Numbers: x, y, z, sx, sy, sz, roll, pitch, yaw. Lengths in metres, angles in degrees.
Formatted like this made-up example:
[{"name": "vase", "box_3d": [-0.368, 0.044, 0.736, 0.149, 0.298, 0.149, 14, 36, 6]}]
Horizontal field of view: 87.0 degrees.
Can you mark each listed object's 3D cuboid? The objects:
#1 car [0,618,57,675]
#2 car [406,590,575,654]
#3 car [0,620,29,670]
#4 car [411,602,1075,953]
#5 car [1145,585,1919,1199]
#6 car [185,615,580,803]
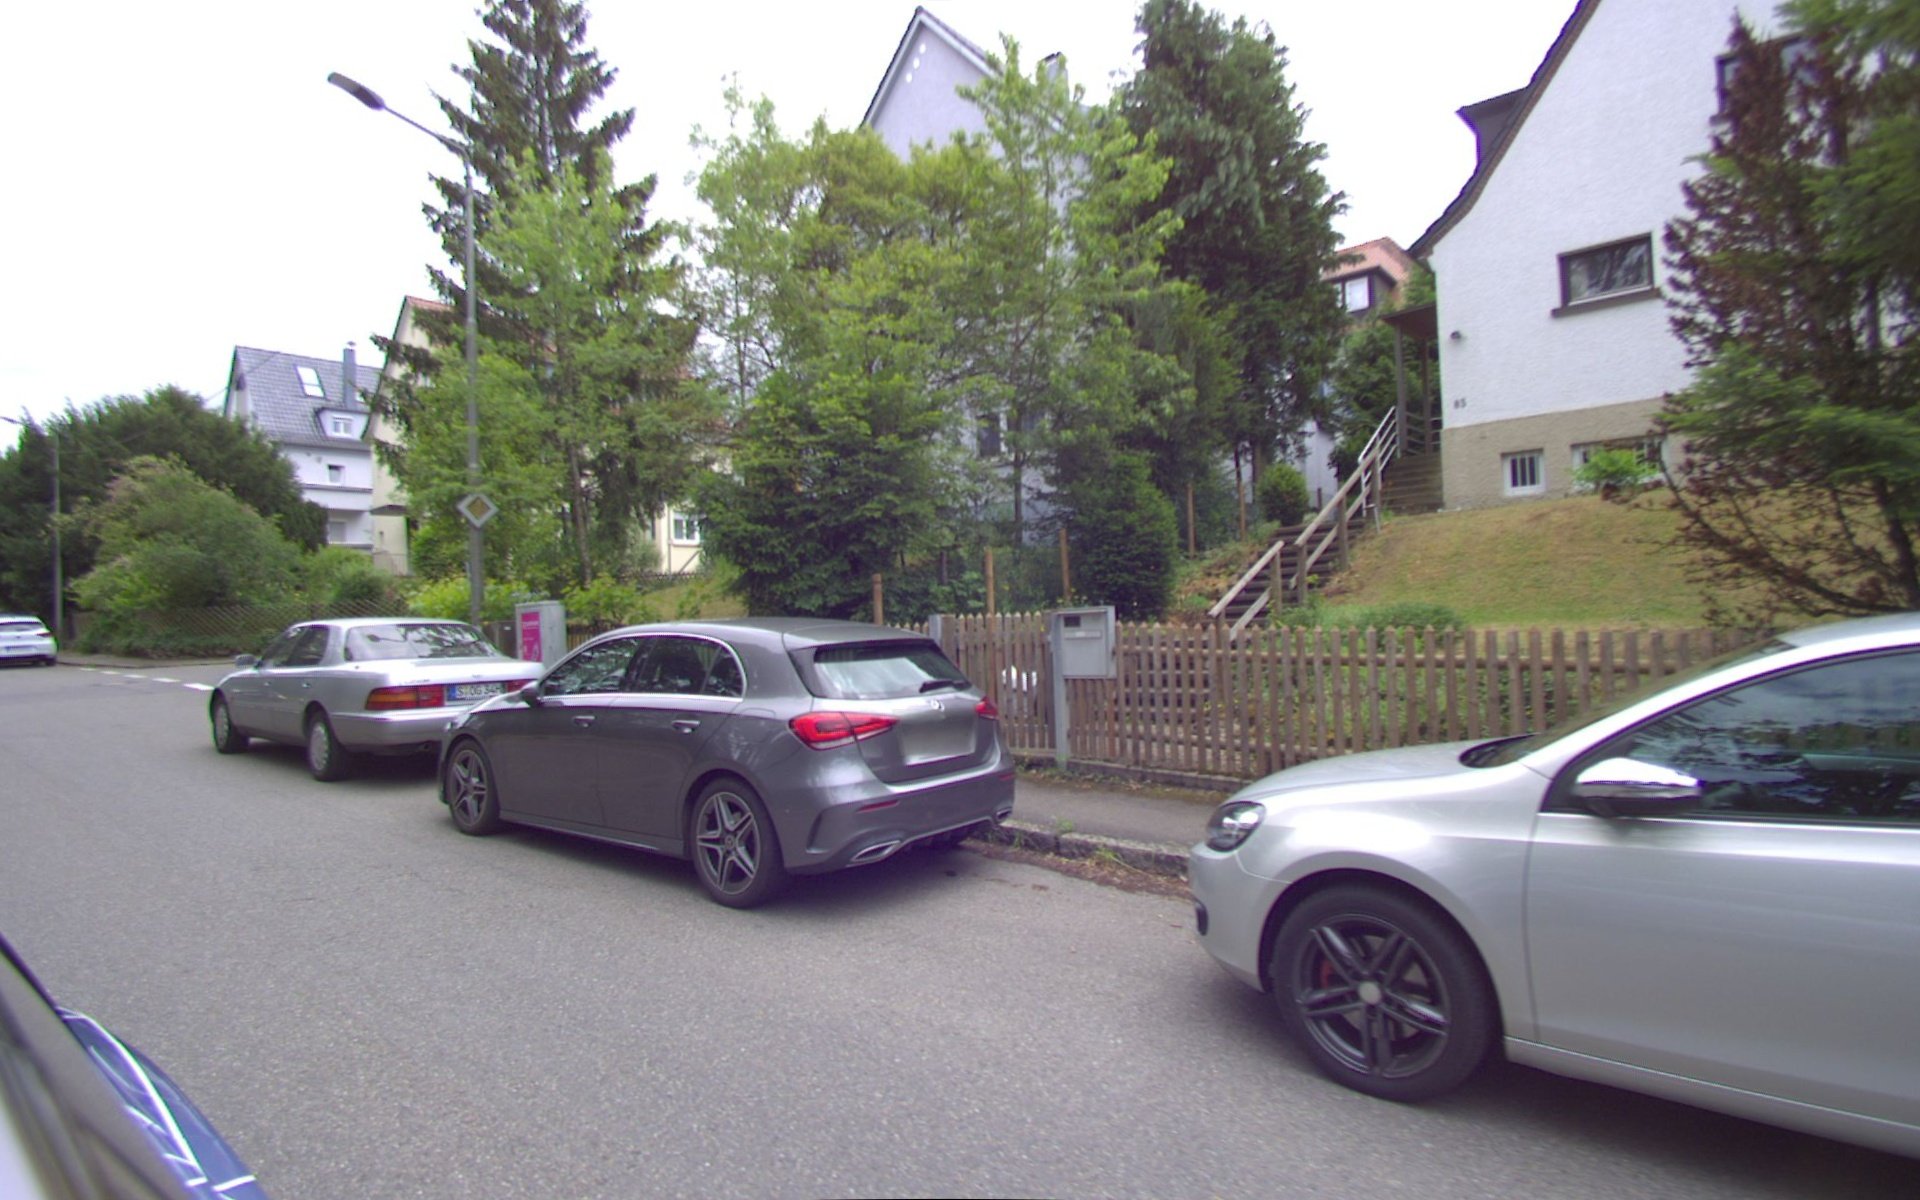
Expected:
[{"name": "car", "box_3d": [-27.442, 1.316, 28.990, 4.011, 1.511, 1.766, -2, 0, 40]}, {"name": "car", "box_3d": [-13.335, 0.594, 28.882, 1.723, 1.494, 3.942, -2, 2, 45]}, {"name": "car", "box_3d": [-30.895, 1.424, 31.870, 4.011, 1.511, 1.766, -2, 0, 40]}, {"name": "car", "box_3d": [-1.564, 0.794, 6.309, 4.257, 1.450, 1.718, -1, 0, 38]}, {"name": "car", "box_3d": [2.765, 0.703, 2.748, 4.114, 1.450, 1.815, -1, -2, 41]}, {"name": "car", "box_3d": [-5.950, 0.899, 10.149, 4.905, 1.450, 1.830, -1, -1, 39]}]
